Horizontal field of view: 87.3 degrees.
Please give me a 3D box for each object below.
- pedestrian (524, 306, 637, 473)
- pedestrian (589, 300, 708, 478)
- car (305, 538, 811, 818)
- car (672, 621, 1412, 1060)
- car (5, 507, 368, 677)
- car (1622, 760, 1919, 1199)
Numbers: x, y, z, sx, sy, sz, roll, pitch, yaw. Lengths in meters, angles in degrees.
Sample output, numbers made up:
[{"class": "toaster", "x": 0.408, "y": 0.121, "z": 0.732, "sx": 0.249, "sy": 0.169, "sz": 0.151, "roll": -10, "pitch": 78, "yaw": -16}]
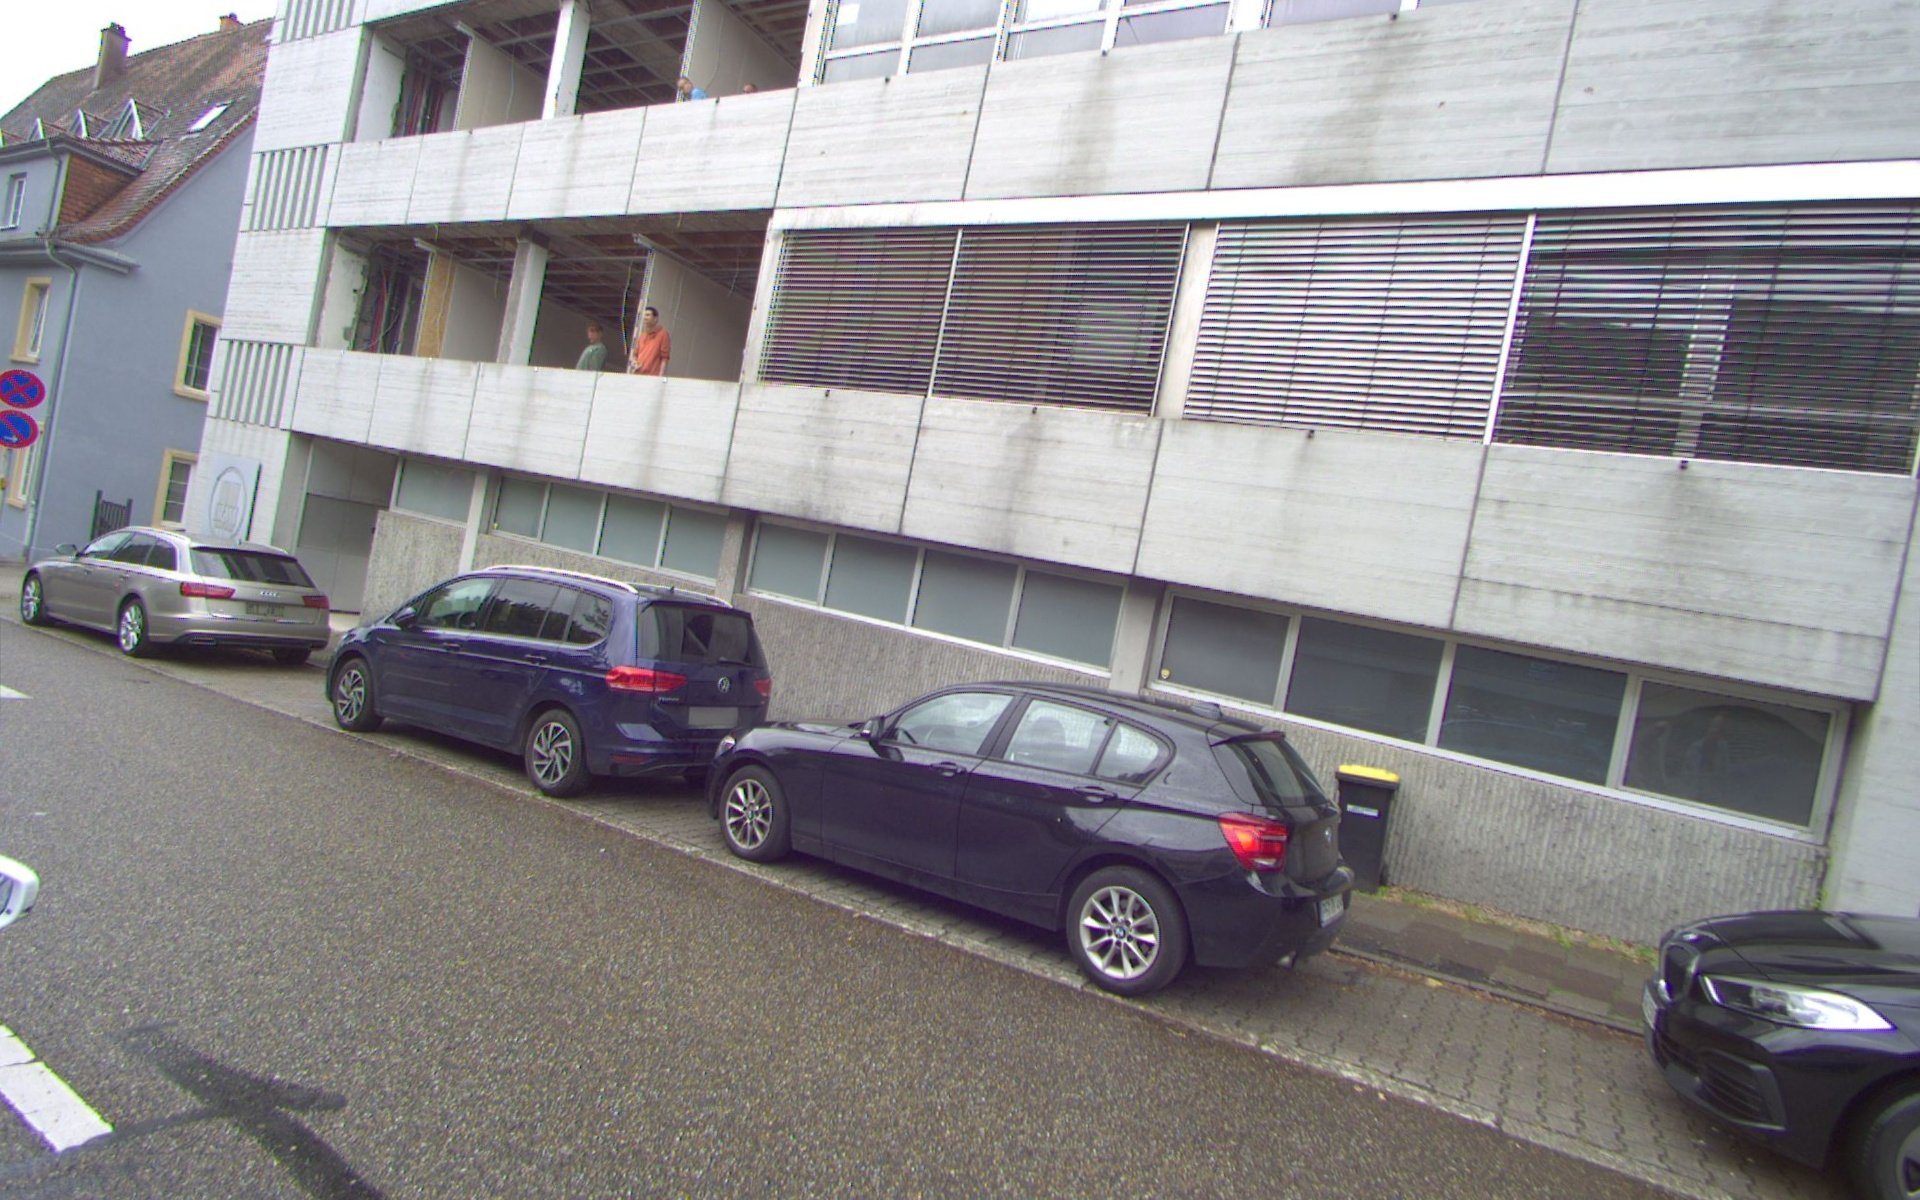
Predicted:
[{"class": "pedestrian", "x": -5.250, "y": -2.882, "z": 13.948, "sx": 0.847, "sy": 2.036, "sz": 0.909, "roll": 6, "pitch": -2, "yaw": 31}, {"class": "pedestrian", "x": -4.055, "y": -2.713, "z": 13.131, "sx": 0.847, "sy": 2.036, "sz": 0.909, "roll": 6, "pitch": -2, "yaw": 31}, {"class": "car", "x": -3.518, "y": 0.553, "z": 8.647, "sx": 4.090, "sy": 1.618, "sz": 1.732, "roll": 7, "pitch": -1, "yaw": 30}, {"class": "car", "x": 0.347, "y": 1.160, "z": 6.306, "sx": 4.183, "sy": 1.465, "sz": 1.750, "roll": 7, "pitch": -1, "yaw": 34}, {"class": "car", "x": -9.792, "y": -0.126, "z": 12.671, "sx": 4.449, "sy": 1.465, "sz": 1.966, "roll": 7, "pitch": -1, "yaw": 30}, {"class": "car", "x": 5.100, "y": 1.757, "z": 3.528, "sx": 4.367, "sy": 1.452, "sz": 1.997, "roll": 7, "pitch": 0, "yaw": 30}]
